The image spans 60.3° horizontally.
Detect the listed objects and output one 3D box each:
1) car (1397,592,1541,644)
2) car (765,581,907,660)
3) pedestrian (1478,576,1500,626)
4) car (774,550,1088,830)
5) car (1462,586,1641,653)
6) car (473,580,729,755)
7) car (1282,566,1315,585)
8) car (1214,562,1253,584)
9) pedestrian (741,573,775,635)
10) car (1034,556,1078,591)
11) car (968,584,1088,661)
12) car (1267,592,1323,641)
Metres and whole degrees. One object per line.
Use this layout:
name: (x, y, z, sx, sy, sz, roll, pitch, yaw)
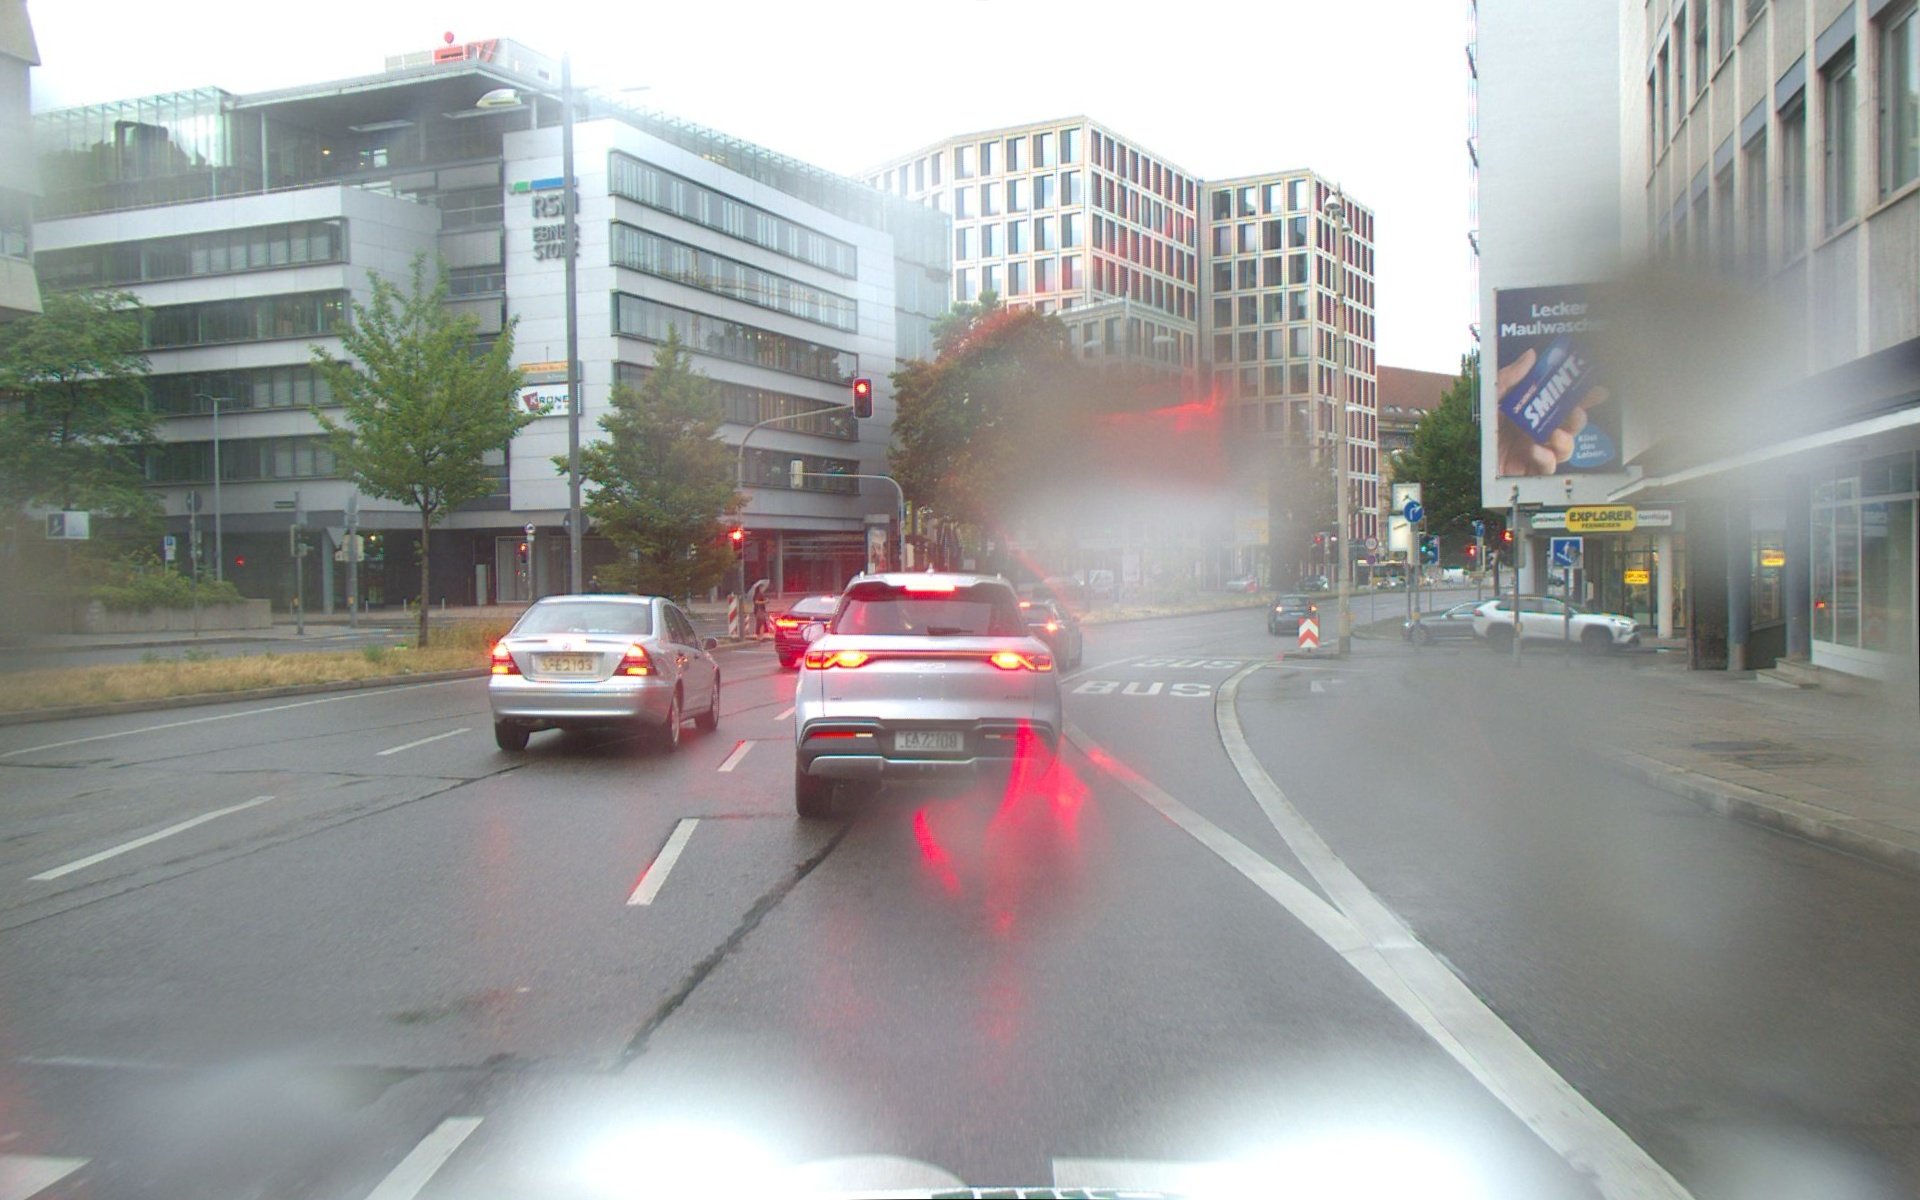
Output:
car: (16.565, 0.553, 53.831, 4.256, 1.536, 1.915, 2, 1, 25)
car: (-2.531, 0.390, 34.785, 1.913, 1.556, 4.004, 0, 1, 12)
pedestrian: (18.113, 0.039, 56.668, 0.712, 1.698, 0.691, 0, -1, 17)
car: (-0.260, 0.530, 12.552, 1.953, 1.739, 4.481, 0, 1, -2)
car: (16.801, 0.513, 47.053, 4.441, 1.780, 1.992, 1, 1, 37)
car: (-3.413, 0.561, 16.465, 1.648, 1.512, 4.196, 0, 1, 0)
car: (32.229, -2.327, 157.366, 1.955, 1.735, 4.303, 1, 2, 28)
car: (22.976, -2.271, 138.763, 1.955, 1.735, 4.303, 1, 2, 28)
pedestrian: (-5.786, 0.112, 47.399, 0.903, 1.768, 0.729, 0, 0, -4)
car: (6.395, -1.750, 109.954, 1.701, 2.199, 4.495, 1, 0, 19)
car: (1.526, 0.433, 35.459, 1.913, 1.556, 4.004, 0, 1, 12)
car: (13.067, 0.608, 64.648, 2.003, 1.796, 4.360, 1, 1, 10)
